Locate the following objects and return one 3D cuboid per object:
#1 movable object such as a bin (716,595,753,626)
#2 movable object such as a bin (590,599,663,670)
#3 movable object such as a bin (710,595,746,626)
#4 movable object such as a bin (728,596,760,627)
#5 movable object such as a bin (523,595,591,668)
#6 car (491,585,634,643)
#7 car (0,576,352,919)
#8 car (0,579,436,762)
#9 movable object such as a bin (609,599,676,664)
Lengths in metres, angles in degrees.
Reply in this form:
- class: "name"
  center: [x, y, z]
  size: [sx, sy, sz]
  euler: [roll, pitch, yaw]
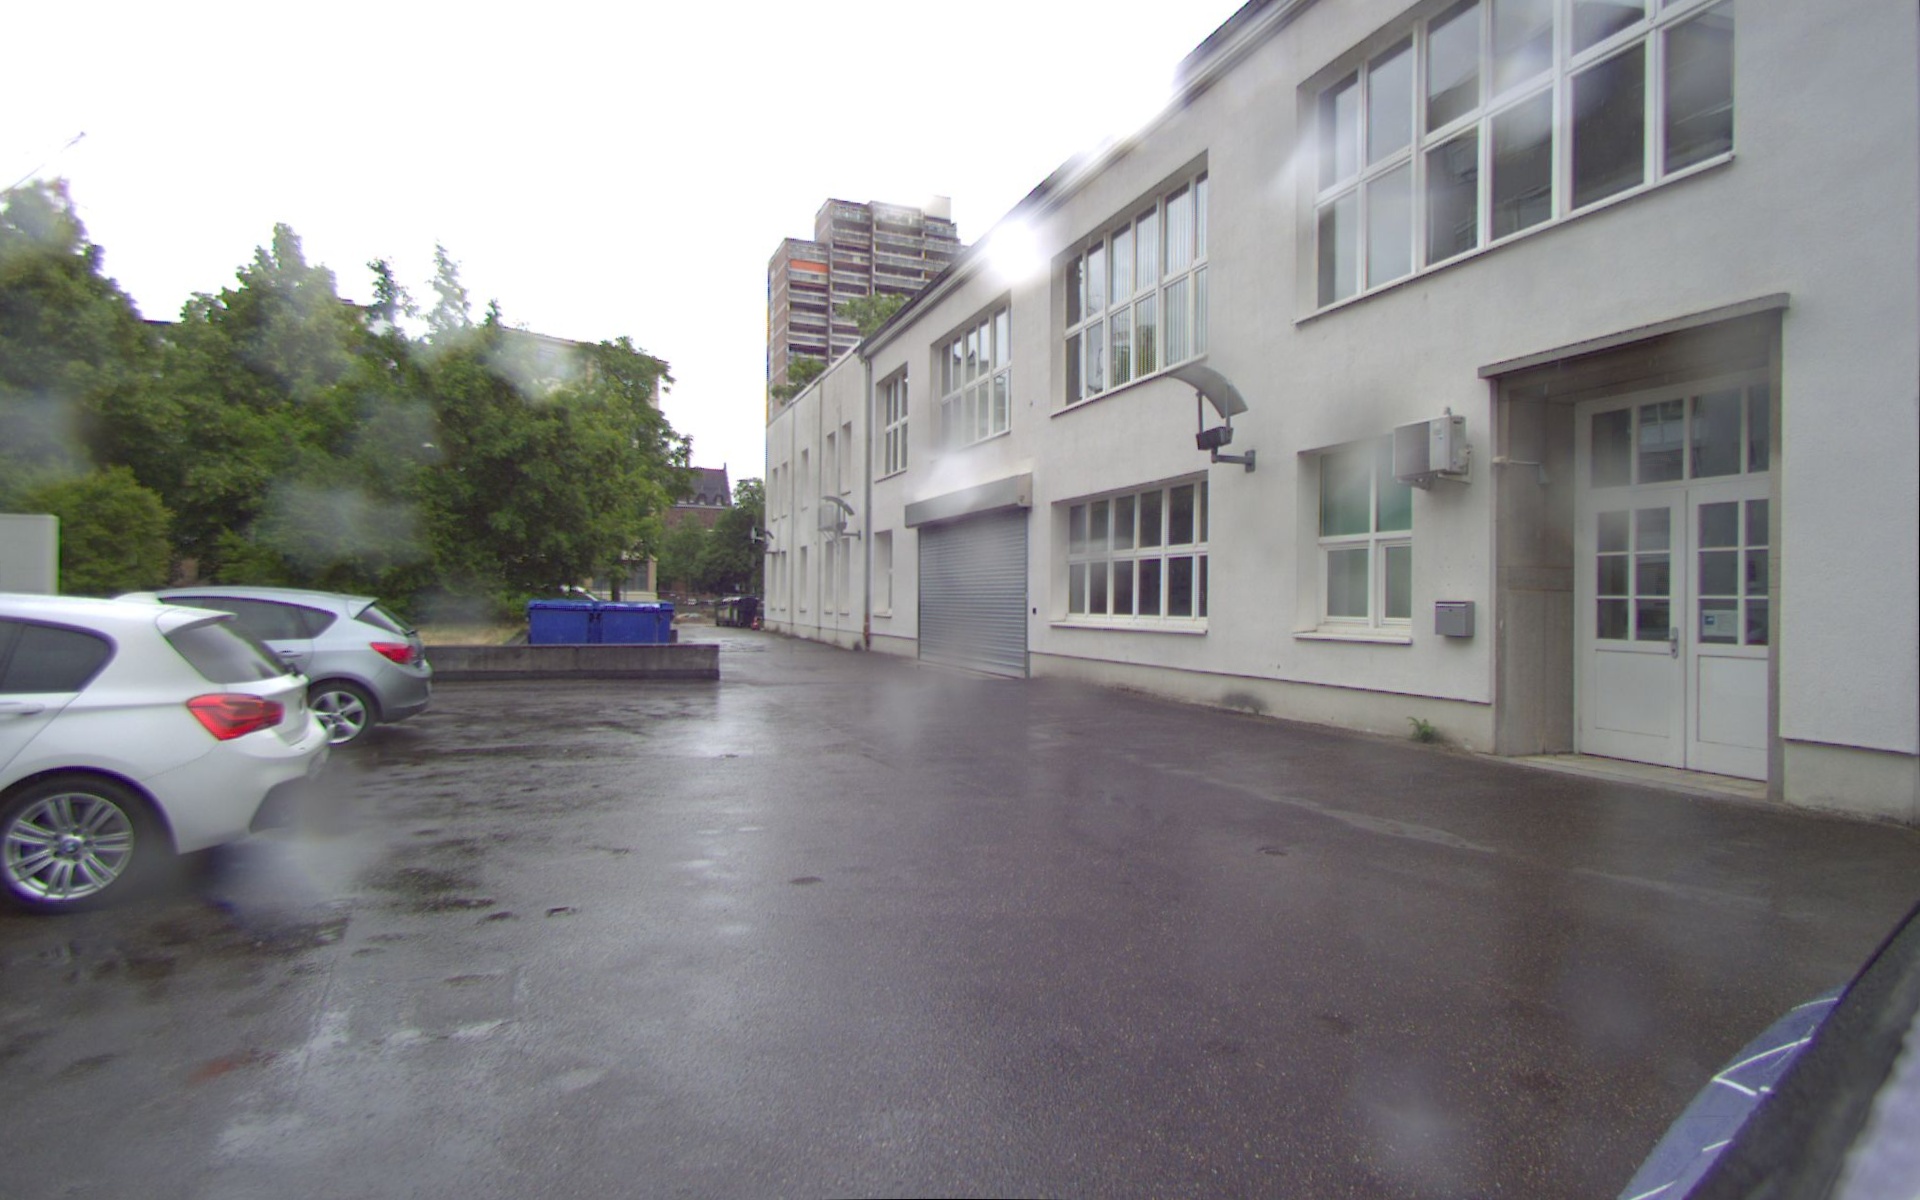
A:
- class: "movable object such as a bin"
  center: [-10.893, 0.517, 48.867]
  size: [1.462, 1.467, 1.315]
  euler: [-1, -2, -26]
- class: "movable object such as a bin"
  center: [-6.867, 0.698, 20.772]
  size: [1.286, 1.375, 1.908]
  euler: [-1, -2, -22]
- class: "movable object such as a bin"
  center: [-11.471, 0.527, 50.089]
  size: [1.462, 1.467, 1.315]
  euler: [-1, -2, -26]
- class: "movable object such as a bin"
  center: [-10.130, 0.540, 47.457]
  size: [1.164, 1.392, 1.315]
  euler: [-1, -2, -26]
- class: "movable object such as a bin"
  center: [-8.070, 0.623, 20.294]
  size: [1.208, 1.375, 1.974]
  euler: [-1, -2, -22]
- class: "car"
  center: [-14.073, 0.516, 36.055]
  size: [4.599, 1.906, 2.126]
  euler: [-1, -3, -19]
- class: "car"
  center: [-5.507, 0.649, 4.952]
  size: [4.134, 1.509, 2.003]
  euler: [0, -1, -25]
- class: "car"
  center: [-7.400, 0.591, 9.689]
  size: [4.134, 1.509, 2.003]
  euler: [0, -1, -25]
- class: "movable object such as a bin"
  center: [-7.148, 0.704, 22.724]
  size: [1.286, 1.375, 1.908]
  euler: [-1, -2, -22]
